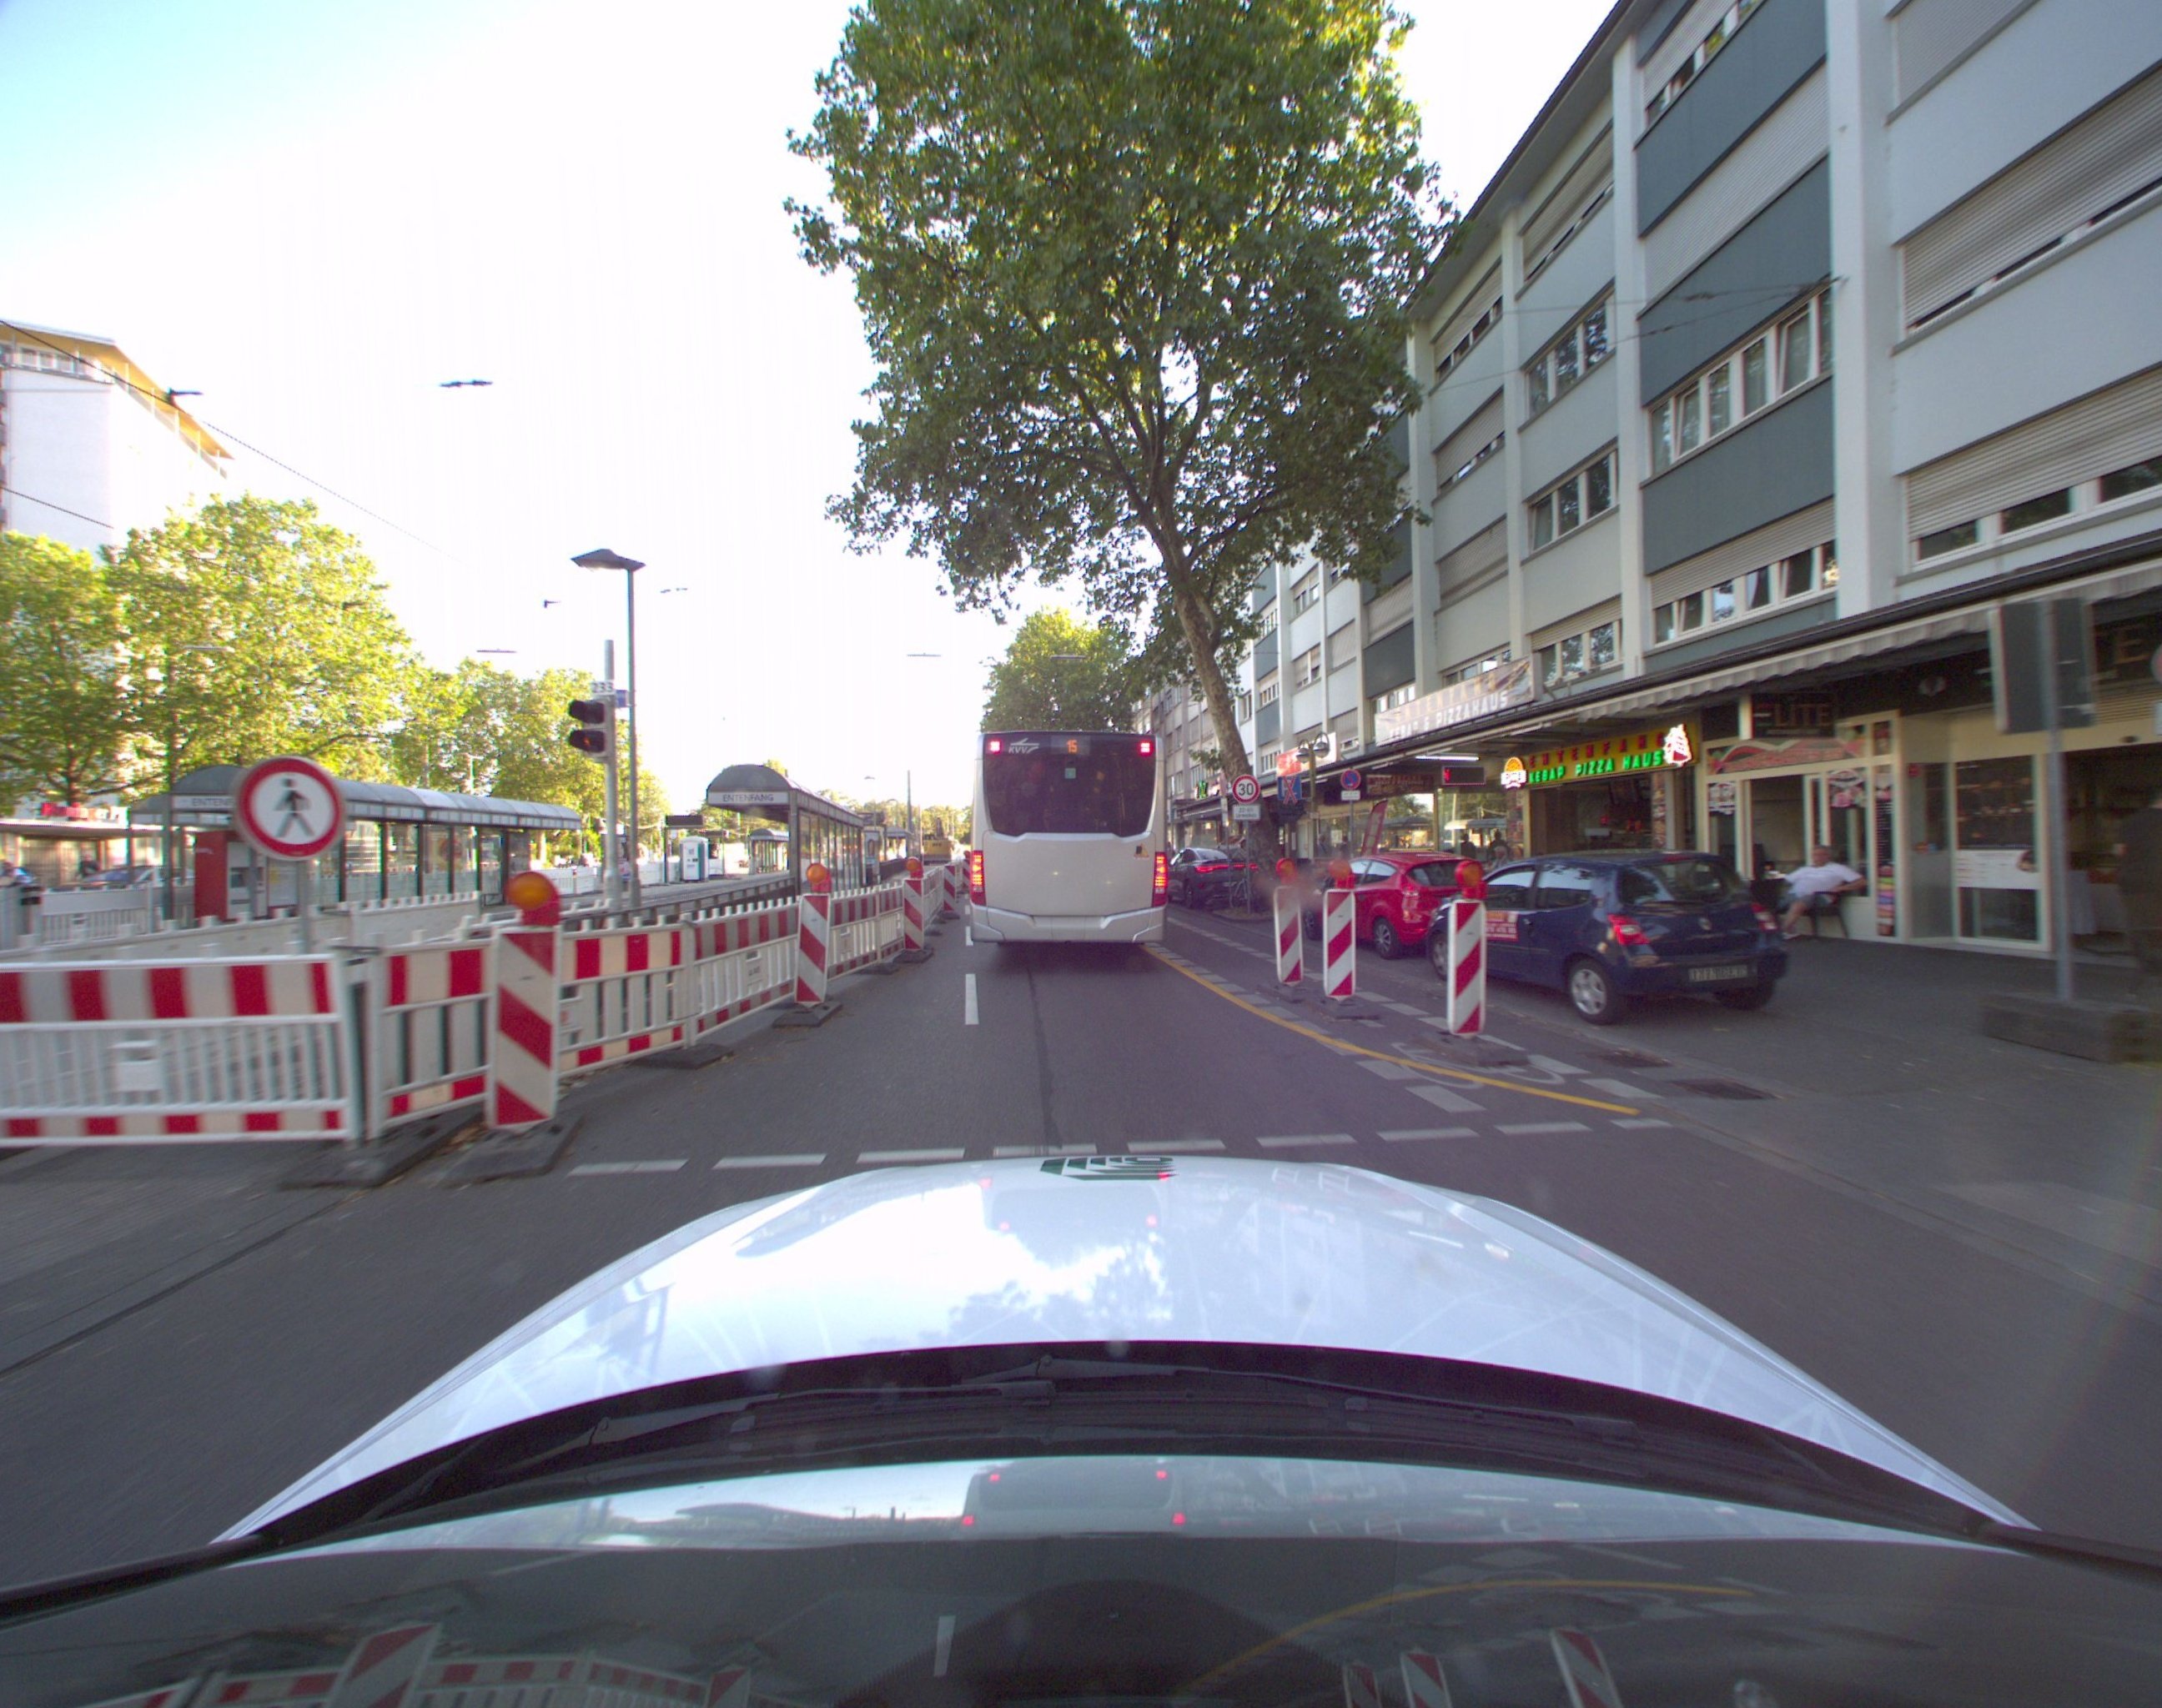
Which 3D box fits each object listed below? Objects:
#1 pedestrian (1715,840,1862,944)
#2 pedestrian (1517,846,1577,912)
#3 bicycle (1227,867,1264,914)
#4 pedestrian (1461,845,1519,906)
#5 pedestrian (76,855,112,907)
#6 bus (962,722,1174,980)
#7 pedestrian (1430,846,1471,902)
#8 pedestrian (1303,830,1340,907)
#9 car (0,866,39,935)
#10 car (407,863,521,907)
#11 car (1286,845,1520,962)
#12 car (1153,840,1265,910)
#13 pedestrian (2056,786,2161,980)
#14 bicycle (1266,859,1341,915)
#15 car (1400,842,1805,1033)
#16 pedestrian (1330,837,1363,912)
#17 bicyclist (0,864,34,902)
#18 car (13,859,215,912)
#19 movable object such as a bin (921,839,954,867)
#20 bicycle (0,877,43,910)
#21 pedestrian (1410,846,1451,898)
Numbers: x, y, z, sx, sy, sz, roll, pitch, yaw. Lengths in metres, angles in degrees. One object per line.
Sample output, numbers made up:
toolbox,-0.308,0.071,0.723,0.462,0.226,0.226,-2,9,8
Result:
pedestrian,9.301,0.483,10.744,1.200,1.232,0.779,-4,0,-2
pedestrian,8.555,0.450,14.970,0.592,1.156,0.752,-4,0,-3
bicycle,3.620,0.791,17.977,0.295,0.927,1.125,-6,4,-14
pedestrian,8.694,0.454,17.332,0.859,1.220,0.699,-4,0,10
pedestrian,-35.349,0.962,29.172,0.569,1.809,0.607,-1,0,-23
bus,-0.285,-0.058,15.214,2.601,3.169,10.285,0,0,-2
pedestrian,8.637,0.450,19.056,0.612,1.243,0.713,-4,0,5
pedestrian,6.453,0.371,21.852,0.690,2.013,0.695,-1,0,-7
car,-26.787,1.187,17.947,1.947,1.654,4.677,-2,1,-8
car,-27.636,1.324,36.691,1.946,1.654,4.678,-2,1,-8
car,4.755,0.639,12.678,1.665,1.429,3.837,-3,1,-8
car,3.337,0.502,22.081,1.739,1.597,4.287,-3,1,-8
pedestrian,9.883,0.249,7.700,0.595,1.735,0.588,-4,1,-6
bicycle,4.706,0.700,17.254,1.452,1.066,0.296,-5,3,7
car,5.030,0.668,8.509,1.617,1.466,3.597,-3,1,-6
pedestrian,7.231,0.547,22.209,0.611,2.013,0.695,-1,0,-4
bicyclist,-33.614,0.896,25.657,0.411,1.173,0.660,-1,0,-12
car,-31.671,0.947,26.923,1.997,1.448,4.516,-2,1,-14
movable object such as a bin,-13.088,-0.111,74.406,2.805,2.461,3.989,-1,0,-8
bicycle,-33.588,1.231,25.558,0.411,0.967,1.456,-1,0,-12
pedestrian,8.605,0.436,20.092,0.674,1.203,0.705,-4,0,6
